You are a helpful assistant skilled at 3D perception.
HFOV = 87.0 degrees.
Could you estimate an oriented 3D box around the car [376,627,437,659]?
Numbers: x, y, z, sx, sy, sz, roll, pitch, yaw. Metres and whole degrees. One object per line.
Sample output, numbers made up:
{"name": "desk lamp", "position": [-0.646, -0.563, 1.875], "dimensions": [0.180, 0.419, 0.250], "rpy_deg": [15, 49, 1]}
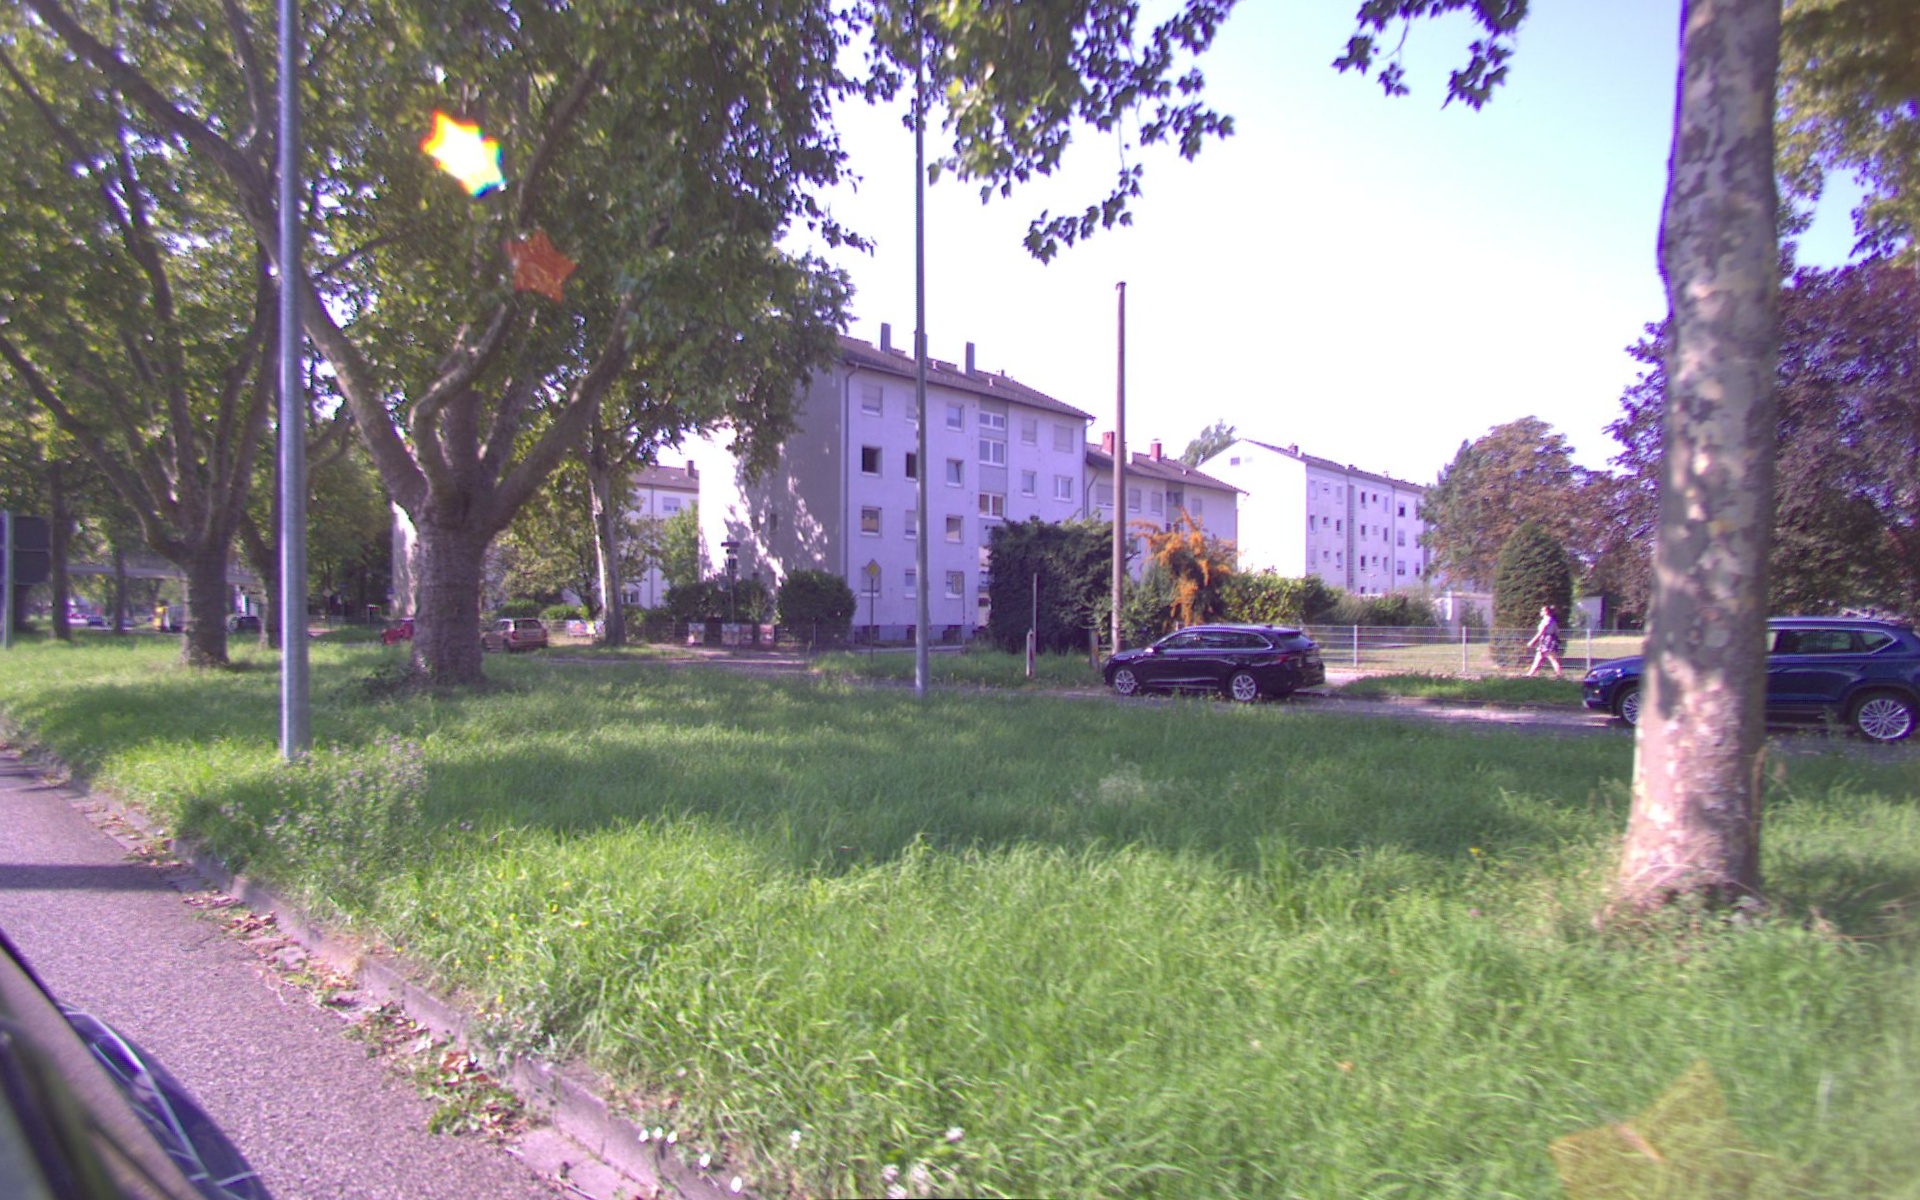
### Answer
{"name": "car", "position": [-27.497, 2.119, 50.251], "dimensions": [4.065, 1.462, 1.521], "rpy_deg": [-1, -1, 44]}

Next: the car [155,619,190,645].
{"name": "car", "position": [-77.692, 3.115, 99.794], "dimensions": [2.181, 2.498, 6.067], "rpy_deg": [1, -1, -43]}

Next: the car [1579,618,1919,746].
{"name": "car", "position": [11.274, 1.050, 14.365], "dimensions": [4.000, 1.580, 1.681], "rpy_deg": [-1, -1, 43]}

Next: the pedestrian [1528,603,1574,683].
{"name": "pedestrian", "position": [12.612, 0.897, 21.605], "dimensions": [0.734, 1.658, 0.640], "rpy_deg": [-1, -1, 41]}

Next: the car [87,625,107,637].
{"name": "car", "position": [-124.784, 4.467, 146.298], "dimensions": [4.721, 1.733, 1.782], "rpy_deg": [-1, -2, 44]}

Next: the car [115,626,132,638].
{"name": "car", "position": [-118.945, 4.536, 143.920], "dimensions": [1.625, 1.490, 3.903], "rpy_deg": [1, -1, -43]}

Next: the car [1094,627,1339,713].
{"name": "car", "position": [5.056, 1.318, 20.366], "dimensions": [4.540, 1.519, 1.681], "rpy_deg": [-1, -2, 43]}

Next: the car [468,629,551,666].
{"name": "car", "position": [-18.921, 1.954, 42.445], "dimensions": [4.065, 1.441, 1.782], "rpy_deg": [-1, -1, 44]}

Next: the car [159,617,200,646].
{"name": "car", "position": [-72.451, 2.894, 93.890], "dimensions": [2.183, 2.448, 6.269], "rpy_deg": [-2, 1, -45]}

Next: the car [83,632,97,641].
{"name": "car", "position": [-164.614, 6.864, 191.404], "dimensions": [1.766, 1.544, 4.460], "rpy_deg": [1, -1, -43]}

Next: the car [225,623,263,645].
{"name": "car", "position": [-53.218, 2.533, 75.175], "dimensions": [3.864, 1.544, 1.506], "rpy_deg": [0, -1, 43]}
